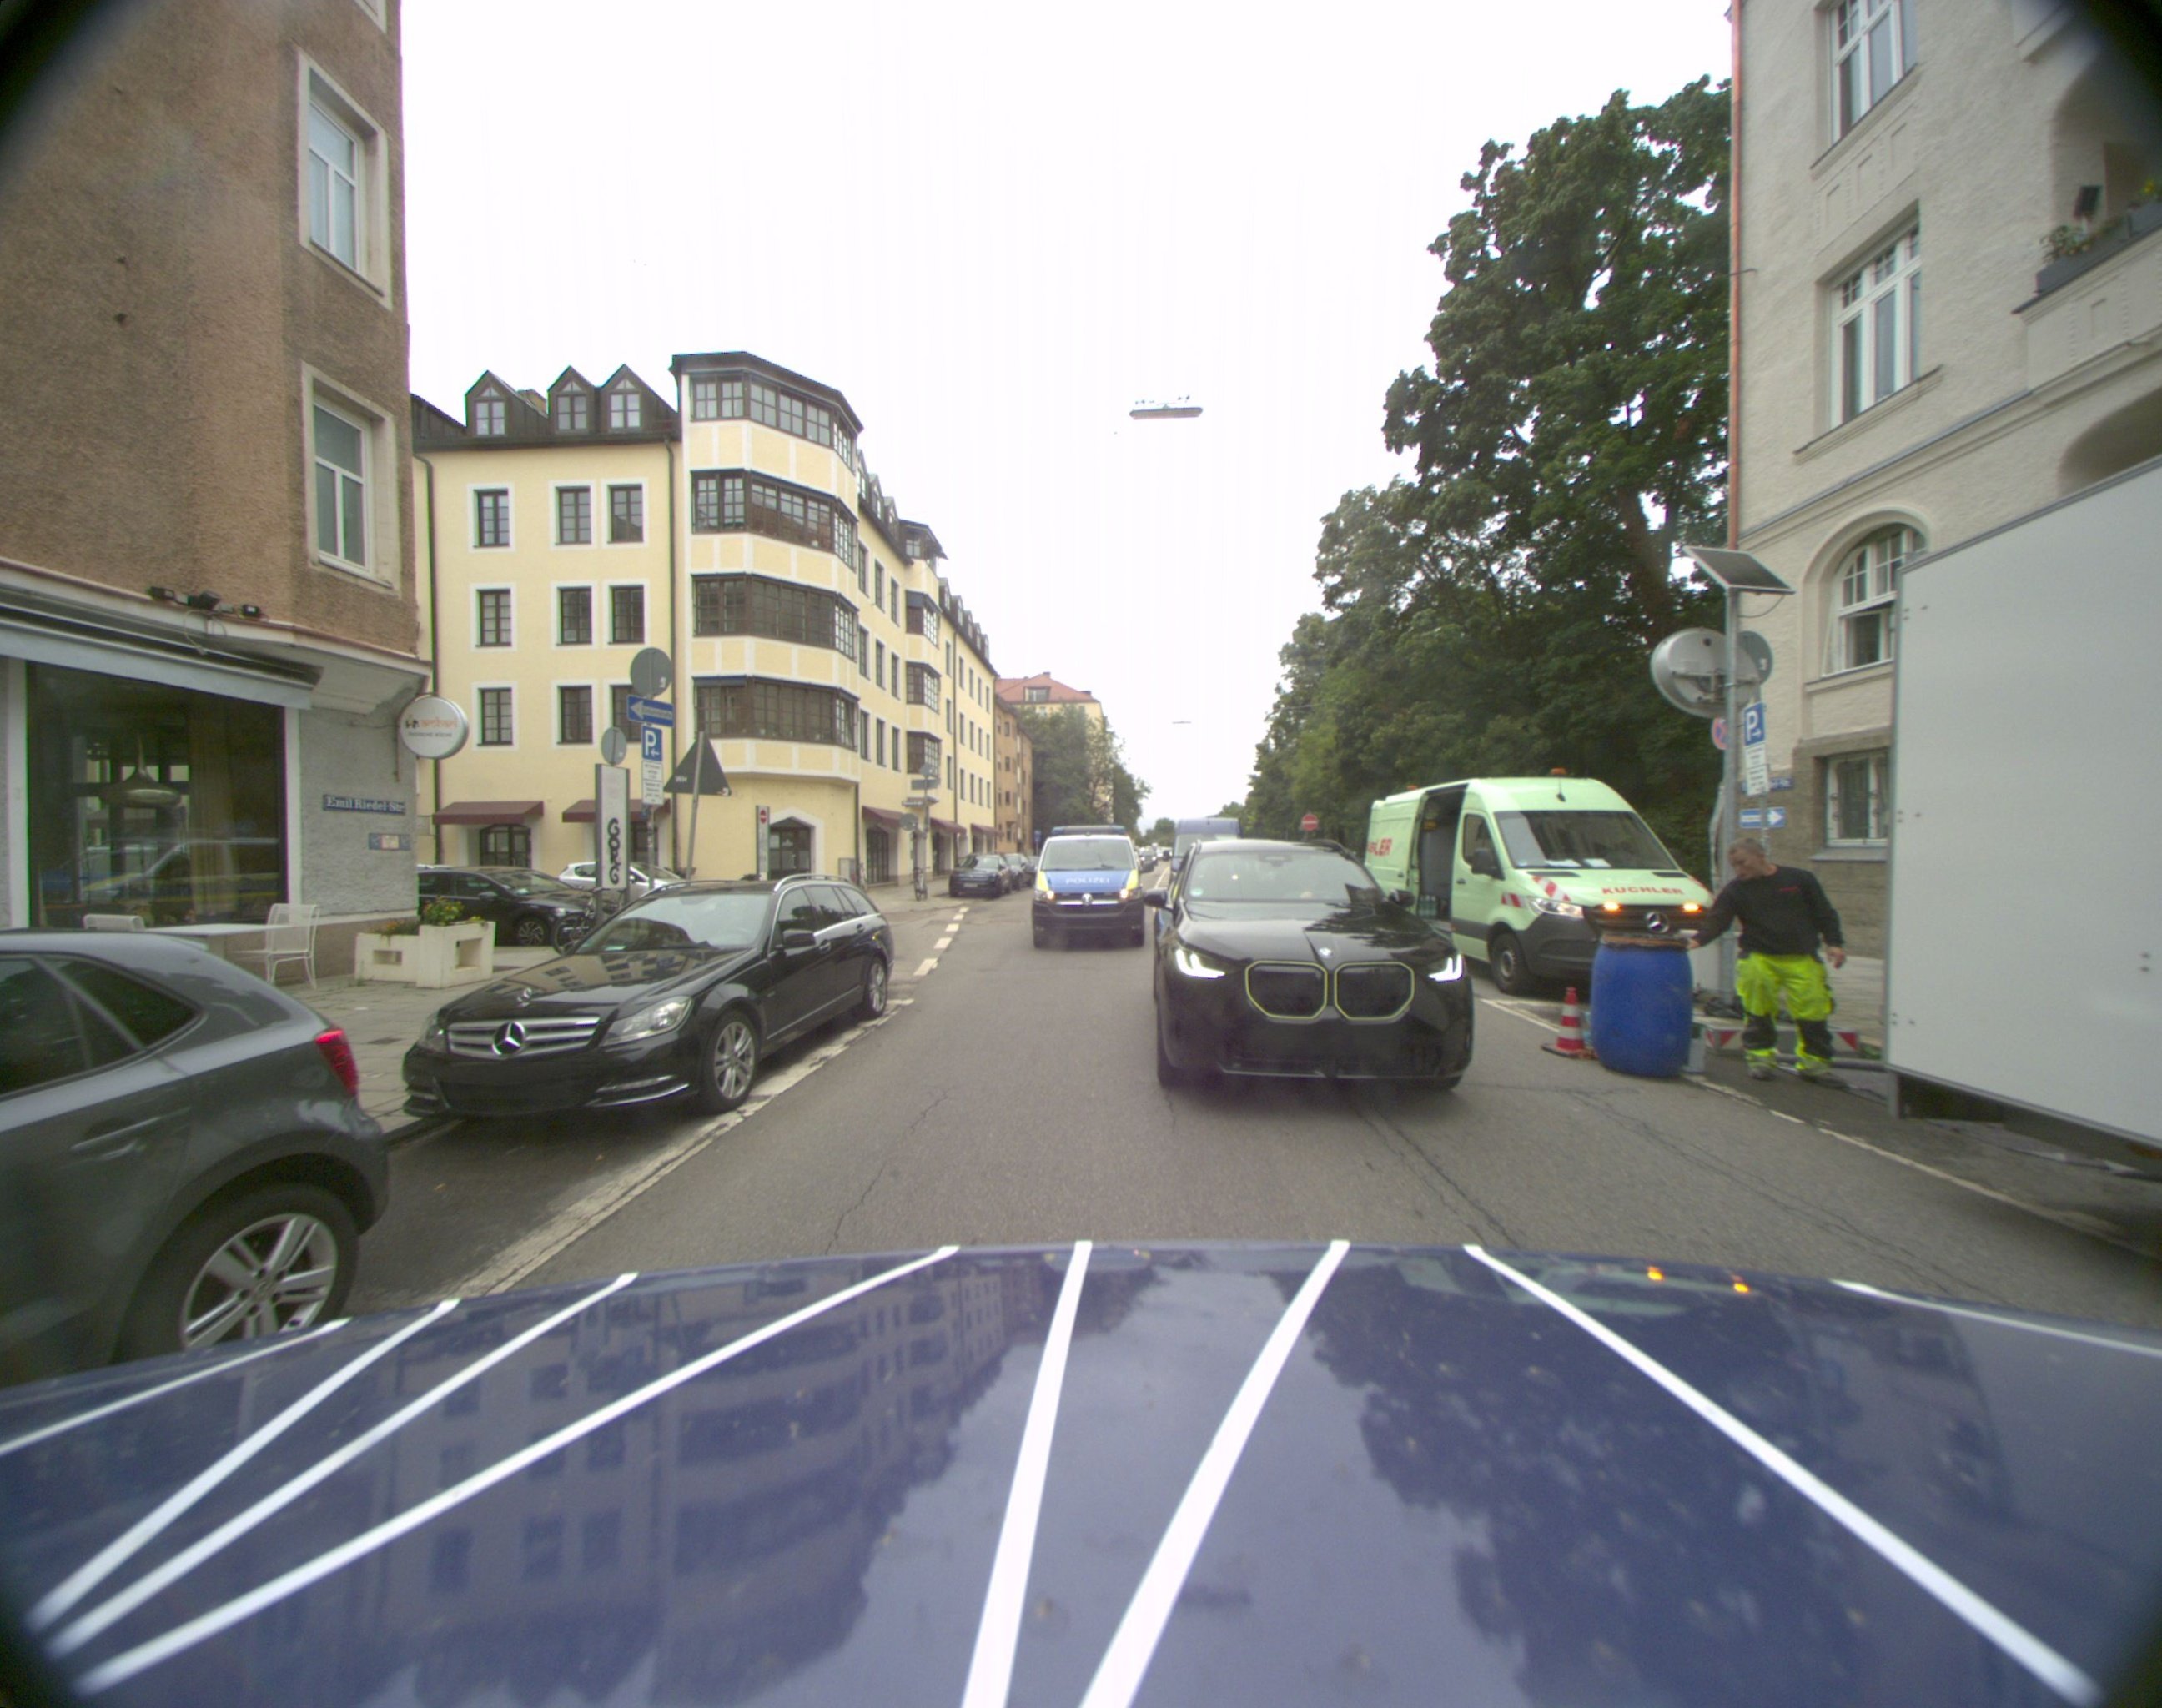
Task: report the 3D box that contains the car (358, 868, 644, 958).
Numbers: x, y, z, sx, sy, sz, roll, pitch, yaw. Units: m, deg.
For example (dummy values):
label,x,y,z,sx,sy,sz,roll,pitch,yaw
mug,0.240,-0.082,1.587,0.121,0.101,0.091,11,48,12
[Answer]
label,x,y,z,sx,sy,sz,roll,pitch,yaw
car,-10.603,1.044,14.107,3.881,1.479,1.892,0,1,3

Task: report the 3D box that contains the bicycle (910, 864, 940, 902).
label,x,y,z,sx,sy,sz,roll,pitch,yaw
bicycle,-5.269,0.962,25.751,0.430,1.152,2.053,1,1,4

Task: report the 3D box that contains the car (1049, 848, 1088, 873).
label,x,y,z,sx,sy,sz,roll,pitch,yaw
car,-0.789,0.404,52.812,1.882,1.642,5.619,1,1,7

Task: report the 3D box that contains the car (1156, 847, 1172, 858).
label,x,y,z,sx,sy,sz,roll,pitch,yaw
car,10.872,-0.261,99.032,1.836,1.390,4.002,1,1,9

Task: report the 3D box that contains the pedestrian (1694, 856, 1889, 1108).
label,x,y,z,sx,sy,sz,roll,pitch,yaw
pedestrian,4.804,0.806,5.168,0.764,1.571,0.636,-1,1,-15

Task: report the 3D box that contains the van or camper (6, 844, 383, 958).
label,x,y,z,sx,sy,sz,roll,pitch,yaw
van or camper,-16.367,0.822,14.210,4.910,1.908,1.961,-1,3,4

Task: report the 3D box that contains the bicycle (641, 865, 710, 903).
label,x,y,z,sx,sy,sz,roll,pitch,yaw
bicycle,-12.657,0.929,23.724,1.904,1.180,0.515,0,1,4

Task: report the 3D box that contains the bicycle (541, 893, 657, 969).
label,x,y,z,sx,sy,sz,roll,pitch,yaw
bicycle,-7.348,1.136,11.693,0.496,0.999,1.804,1,0,5

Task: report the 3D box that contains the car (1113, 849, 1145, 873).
label,x,y,z,sx,sy,sz,roll,pitch,yaw
car,3.379,0.444,52.729,1.997,1.587,4.002,1,1,7

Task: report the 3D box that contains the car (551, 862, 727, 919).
label,x,y,z,sx,sy,sz,roll,pitch,yaw
car,-11.722,0.961,20.277,3.741,1.431,1.753,0,-2,7

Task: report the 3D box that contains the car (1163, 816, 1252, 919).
label,x,y,z,sx,sy,sz,roll,pitch,yaw
car,3.757,0.252,21.599,2.003,2.477,6.238,-1,1,14

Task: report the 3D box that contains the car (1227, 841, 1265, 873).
label,x,y,z,sx,sy,sz,roll,pitch,yaw
car,8.945,0.120,41.383,1.816,1.580,4.167,4,2,11

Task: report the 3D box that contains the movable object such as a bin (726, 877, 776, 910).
label,x,y,z,sx,sy,sz,roll,pitch,yaw
movable object such as a bin,-9.511,1.127,21.903,1.125,0.895,0.684,0,1,4

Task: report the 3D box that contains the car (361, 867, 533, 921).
label,x,y,z,sx,sy,sz,roll,pitch,yaw
car,-17.240,1.050,20.738,3.451,1.330,1.640,0,1,6

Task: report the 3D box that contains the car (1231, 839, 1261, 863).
label,x,y,z,sx,sy,sz,roll,pitch,yaw
car,11.561,-0.215,53.103,1.815,1.455,4.168,4,2,14

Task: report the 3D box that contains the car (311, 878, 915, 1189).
label,x,y,z,sx,sy,sz,roll,pitch,yaw
car,-2.953,1.014,6.316,1.851,1.397,4.788,-1,1,3

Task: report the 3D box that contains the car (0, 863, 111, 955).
label,x,y,z,sx,sy,sz,roll,pitch,yaw
car,-21.762,1.012,14.581,3.993,1.634,1.979,0,1,5

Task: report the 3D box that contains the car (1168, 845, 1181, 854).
label,x,y,z,sx,sy,sz,roll,pitch,yaw
car,14.896,-0.737,120.817,1.836,1.390,4.002,1,1,9

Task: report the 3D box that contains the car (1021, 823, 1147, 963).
label,x,y,z,sx,sy,sz,roll,pitch,yaw
car,0.281,0.581,14.418,1.826,2.087,5.635,-2,0,5

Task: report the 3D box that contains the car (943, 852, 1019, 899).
label,x,y,z,sx,sy,sz,roll,pitch,yaw
car,-3.797,0.774,29.733,2.111,1.613,4.497,-1,1,3

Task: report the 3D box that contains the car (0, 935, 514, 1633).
label,x,y,z,sx,sy,sz,roll,pitch,yaw
car,-3.236,1.071,1.107,1.576,1.386,4.182,0,1,2

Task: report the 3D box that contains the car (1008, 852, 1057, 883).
label,x,y,z,sx,sy,sz,roll,pitch,yaw
car,-2.490,0.664,40.029,1.763,1.514,3.934,1,1,8

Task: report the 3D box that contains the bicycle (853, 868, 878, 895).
label,x,y,z,sx,sy,sz,roll,pitch,yaw
bicycle,-7.928,0.988,28.009,0.262,0.897,1.695,4,2,5

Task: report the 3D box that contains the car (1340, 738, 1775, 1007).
label,x,y,z,sx,sy,sz,roll,pitch,yaw
car,5.724,0.168,10.683,2.146,2.557,6.795,-1,0,3

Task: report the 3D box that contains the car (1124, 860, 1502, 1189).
label,x,y,z,sx,sy,sz,roll,pitch,yaw
car,1.502,0.894,6.134,1.920,1.557,4.296,0,1,8

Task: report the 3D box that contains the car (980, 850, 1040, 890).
label,x,y,z,sx,sy,sz,roll,pitch,yaw
car,-3.204,0.673,34.949,1.817,1.580,4.165,4,2,7

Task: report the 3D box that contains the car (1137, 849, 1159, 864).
label,x,y,z,sx,sy,sz,roll,pitch,yaw
car,6.519,0.203,73.558,1.836,1.390,4.002,1,1,9
